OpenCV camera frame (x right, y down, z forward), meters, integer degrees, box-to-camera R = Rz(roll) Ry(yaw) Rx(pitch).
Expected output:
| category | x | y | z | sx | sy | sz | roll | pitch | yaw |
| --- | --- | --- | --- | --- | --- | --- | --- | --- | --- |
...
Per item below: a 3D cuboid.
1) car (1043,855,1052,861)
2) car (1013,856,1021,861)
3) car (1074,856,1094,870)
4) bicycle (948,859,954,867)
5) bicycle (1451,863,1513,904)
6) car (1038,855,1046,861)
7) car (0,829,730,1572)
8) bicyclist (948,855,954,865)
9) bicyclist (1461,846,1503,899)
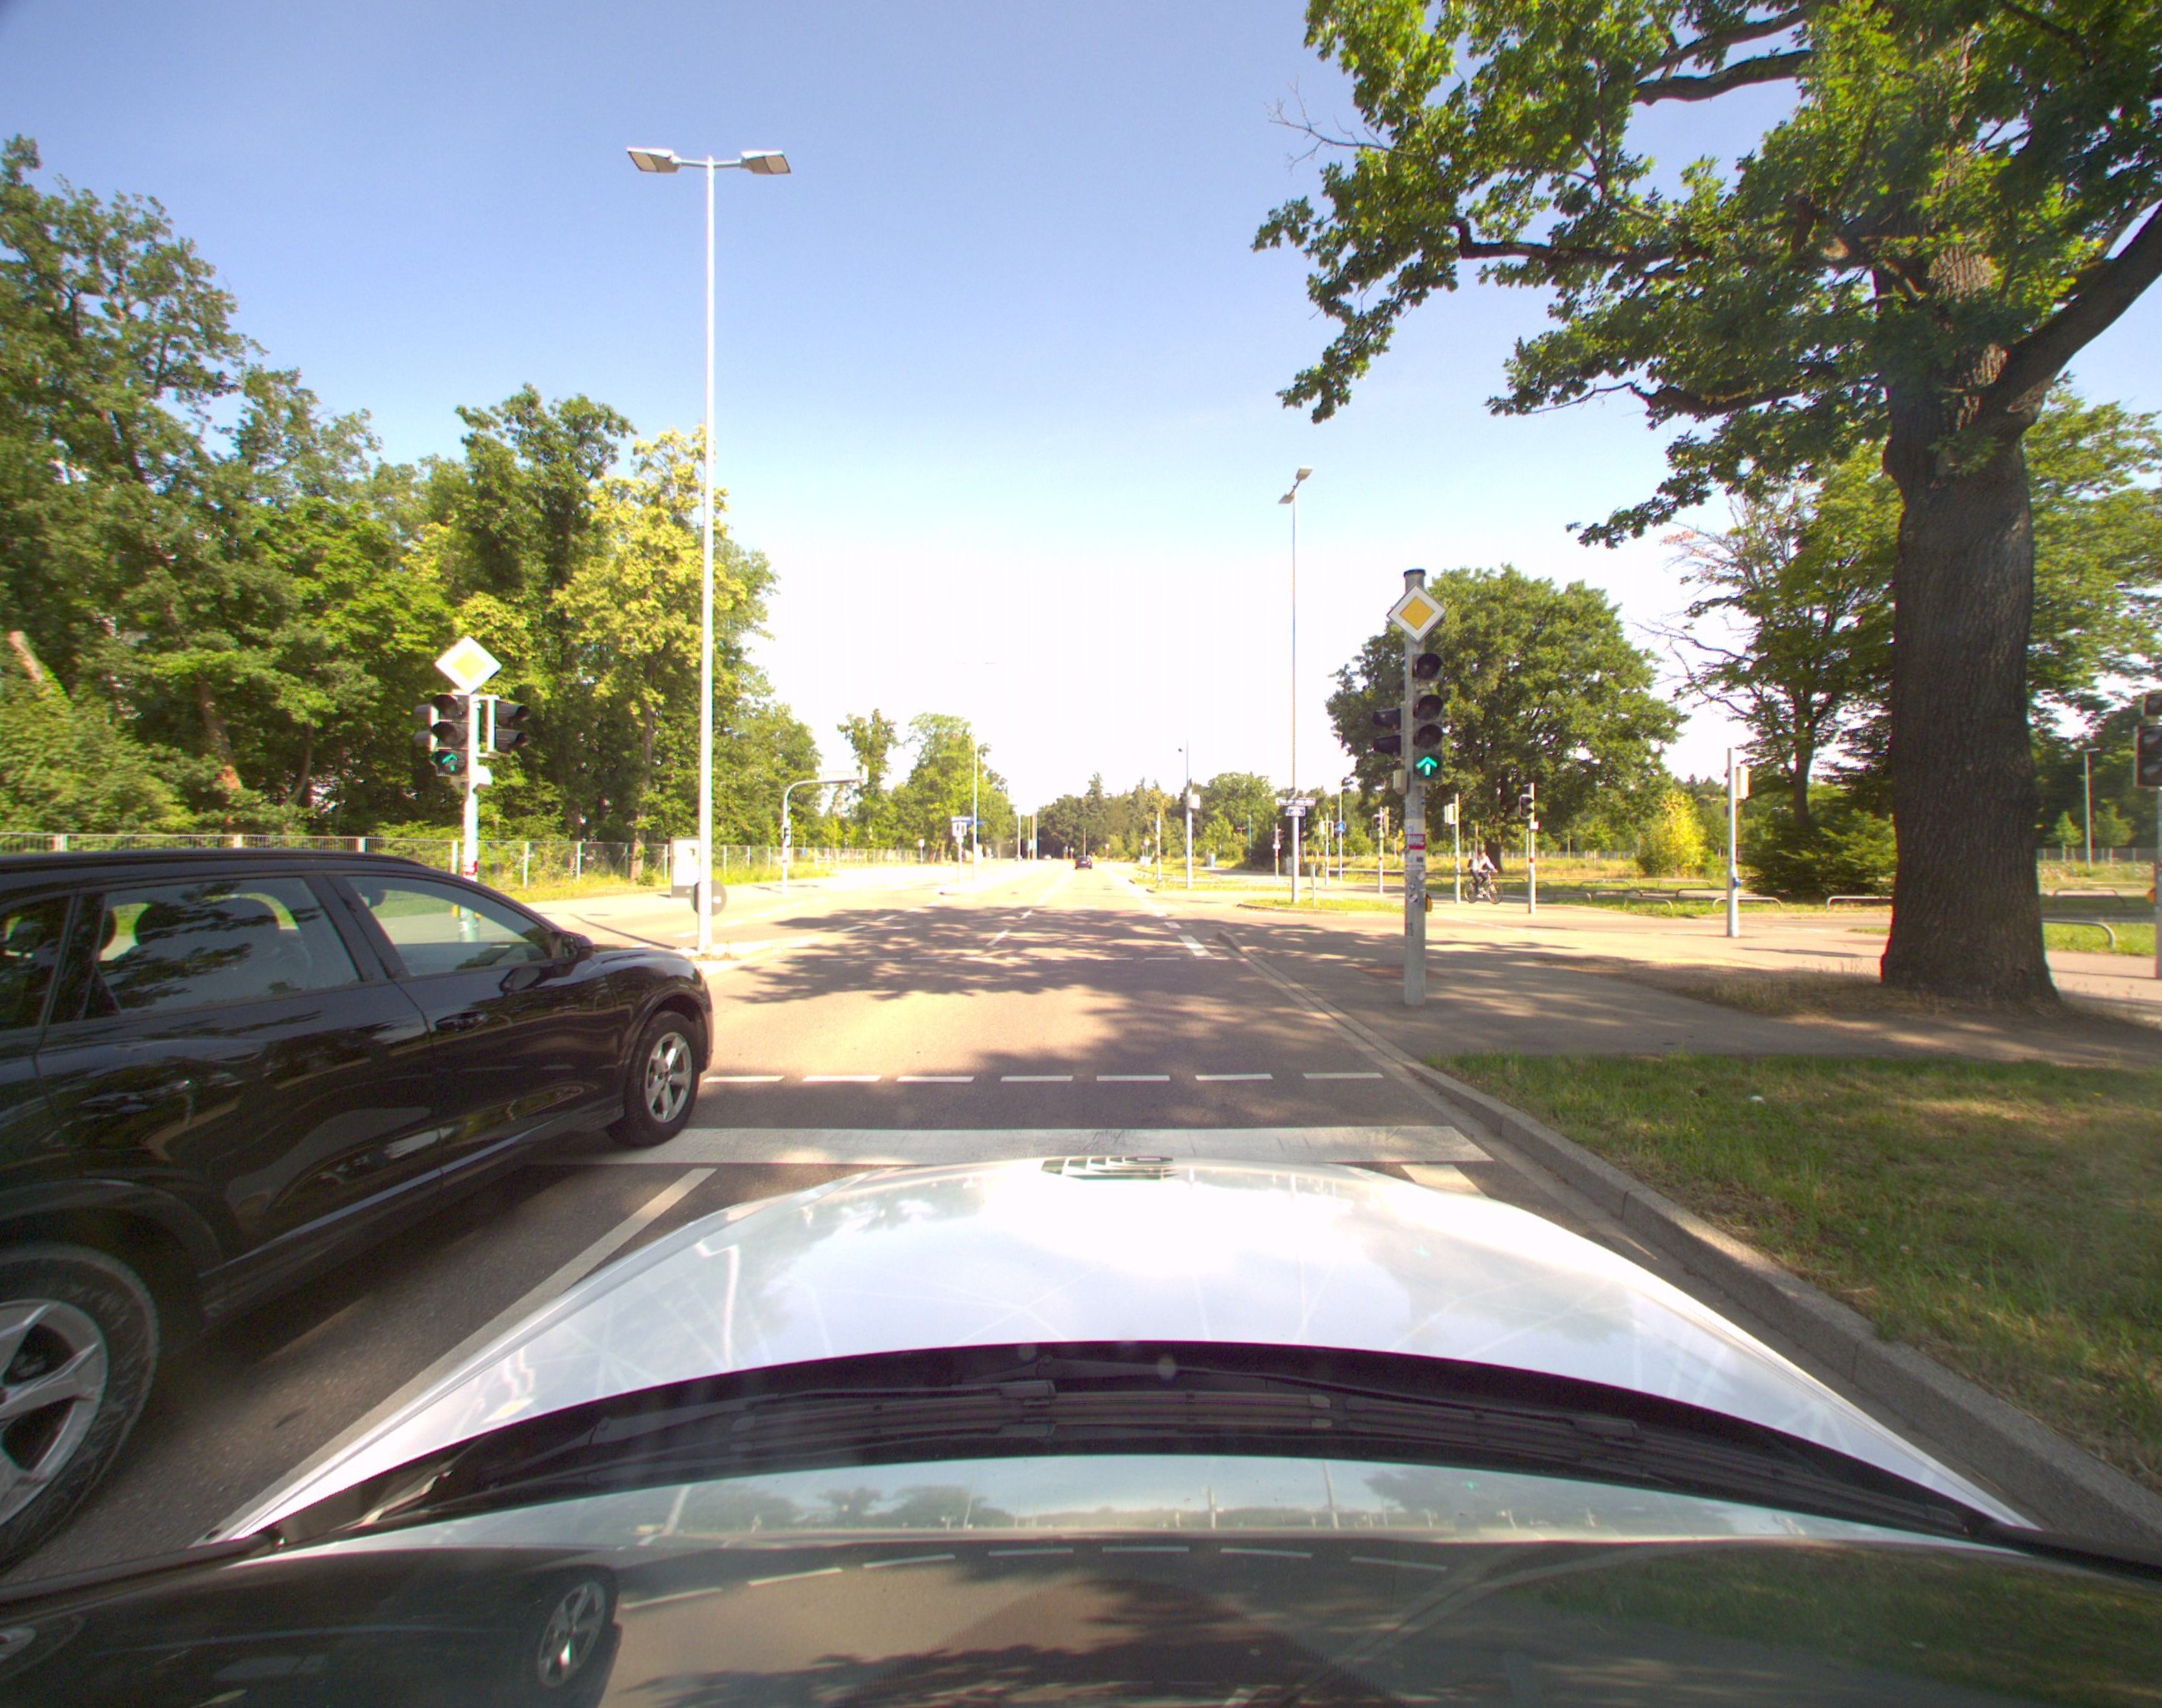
| category | x | y | z | sx | sy | sz | roll | pitch | yaw |
| --- | --- | --- | --- | --- | --- | --- | --- | --- | --- |
| car | -9.899 | 1.055 | 238.056 | 1.996 | 1.750 | 3.982 | 0 | -1 | -13 |
| car | -17.063 | 1.154 | 216.862 | 1.811 | 1.388 | 4.147 | -2 | 0 | -10 |
| car | 0.257 | 0.964 | 88.514 | 1.936 | 1.420 | 4.287 | 0 | 0 | -3 |
| bicycle | -18.103 | 1.231 | 113.422 | 0.658 | 1.136 | 1.877 | 1 | 0 | -2 |
| bicycle | 12.723 | 0.916 | 25.927 | 0.723 | 1.199 | 2.095 | 0 | 0 | -7 |
| car | -12.463 | 1.272 | 258.737 | 1.994 | 1.596 | 3.985 | 0 | 0 | -11 |
| car | -3.060 | 0.733 | 2.908 | 1.681 | 1.544 | 4.150 | -1 | 0 | 2 |
| bicyclist | -18.078 | 0.855 | 113.494 | 0.658 | 1.467 | 1.056 | 1 | 0 | -3 |
| bicyclist | 12.730 | 0.585 | 25.889 | 0.723 | 1.639 | 1.055 | 0 | 0 | -8 |
